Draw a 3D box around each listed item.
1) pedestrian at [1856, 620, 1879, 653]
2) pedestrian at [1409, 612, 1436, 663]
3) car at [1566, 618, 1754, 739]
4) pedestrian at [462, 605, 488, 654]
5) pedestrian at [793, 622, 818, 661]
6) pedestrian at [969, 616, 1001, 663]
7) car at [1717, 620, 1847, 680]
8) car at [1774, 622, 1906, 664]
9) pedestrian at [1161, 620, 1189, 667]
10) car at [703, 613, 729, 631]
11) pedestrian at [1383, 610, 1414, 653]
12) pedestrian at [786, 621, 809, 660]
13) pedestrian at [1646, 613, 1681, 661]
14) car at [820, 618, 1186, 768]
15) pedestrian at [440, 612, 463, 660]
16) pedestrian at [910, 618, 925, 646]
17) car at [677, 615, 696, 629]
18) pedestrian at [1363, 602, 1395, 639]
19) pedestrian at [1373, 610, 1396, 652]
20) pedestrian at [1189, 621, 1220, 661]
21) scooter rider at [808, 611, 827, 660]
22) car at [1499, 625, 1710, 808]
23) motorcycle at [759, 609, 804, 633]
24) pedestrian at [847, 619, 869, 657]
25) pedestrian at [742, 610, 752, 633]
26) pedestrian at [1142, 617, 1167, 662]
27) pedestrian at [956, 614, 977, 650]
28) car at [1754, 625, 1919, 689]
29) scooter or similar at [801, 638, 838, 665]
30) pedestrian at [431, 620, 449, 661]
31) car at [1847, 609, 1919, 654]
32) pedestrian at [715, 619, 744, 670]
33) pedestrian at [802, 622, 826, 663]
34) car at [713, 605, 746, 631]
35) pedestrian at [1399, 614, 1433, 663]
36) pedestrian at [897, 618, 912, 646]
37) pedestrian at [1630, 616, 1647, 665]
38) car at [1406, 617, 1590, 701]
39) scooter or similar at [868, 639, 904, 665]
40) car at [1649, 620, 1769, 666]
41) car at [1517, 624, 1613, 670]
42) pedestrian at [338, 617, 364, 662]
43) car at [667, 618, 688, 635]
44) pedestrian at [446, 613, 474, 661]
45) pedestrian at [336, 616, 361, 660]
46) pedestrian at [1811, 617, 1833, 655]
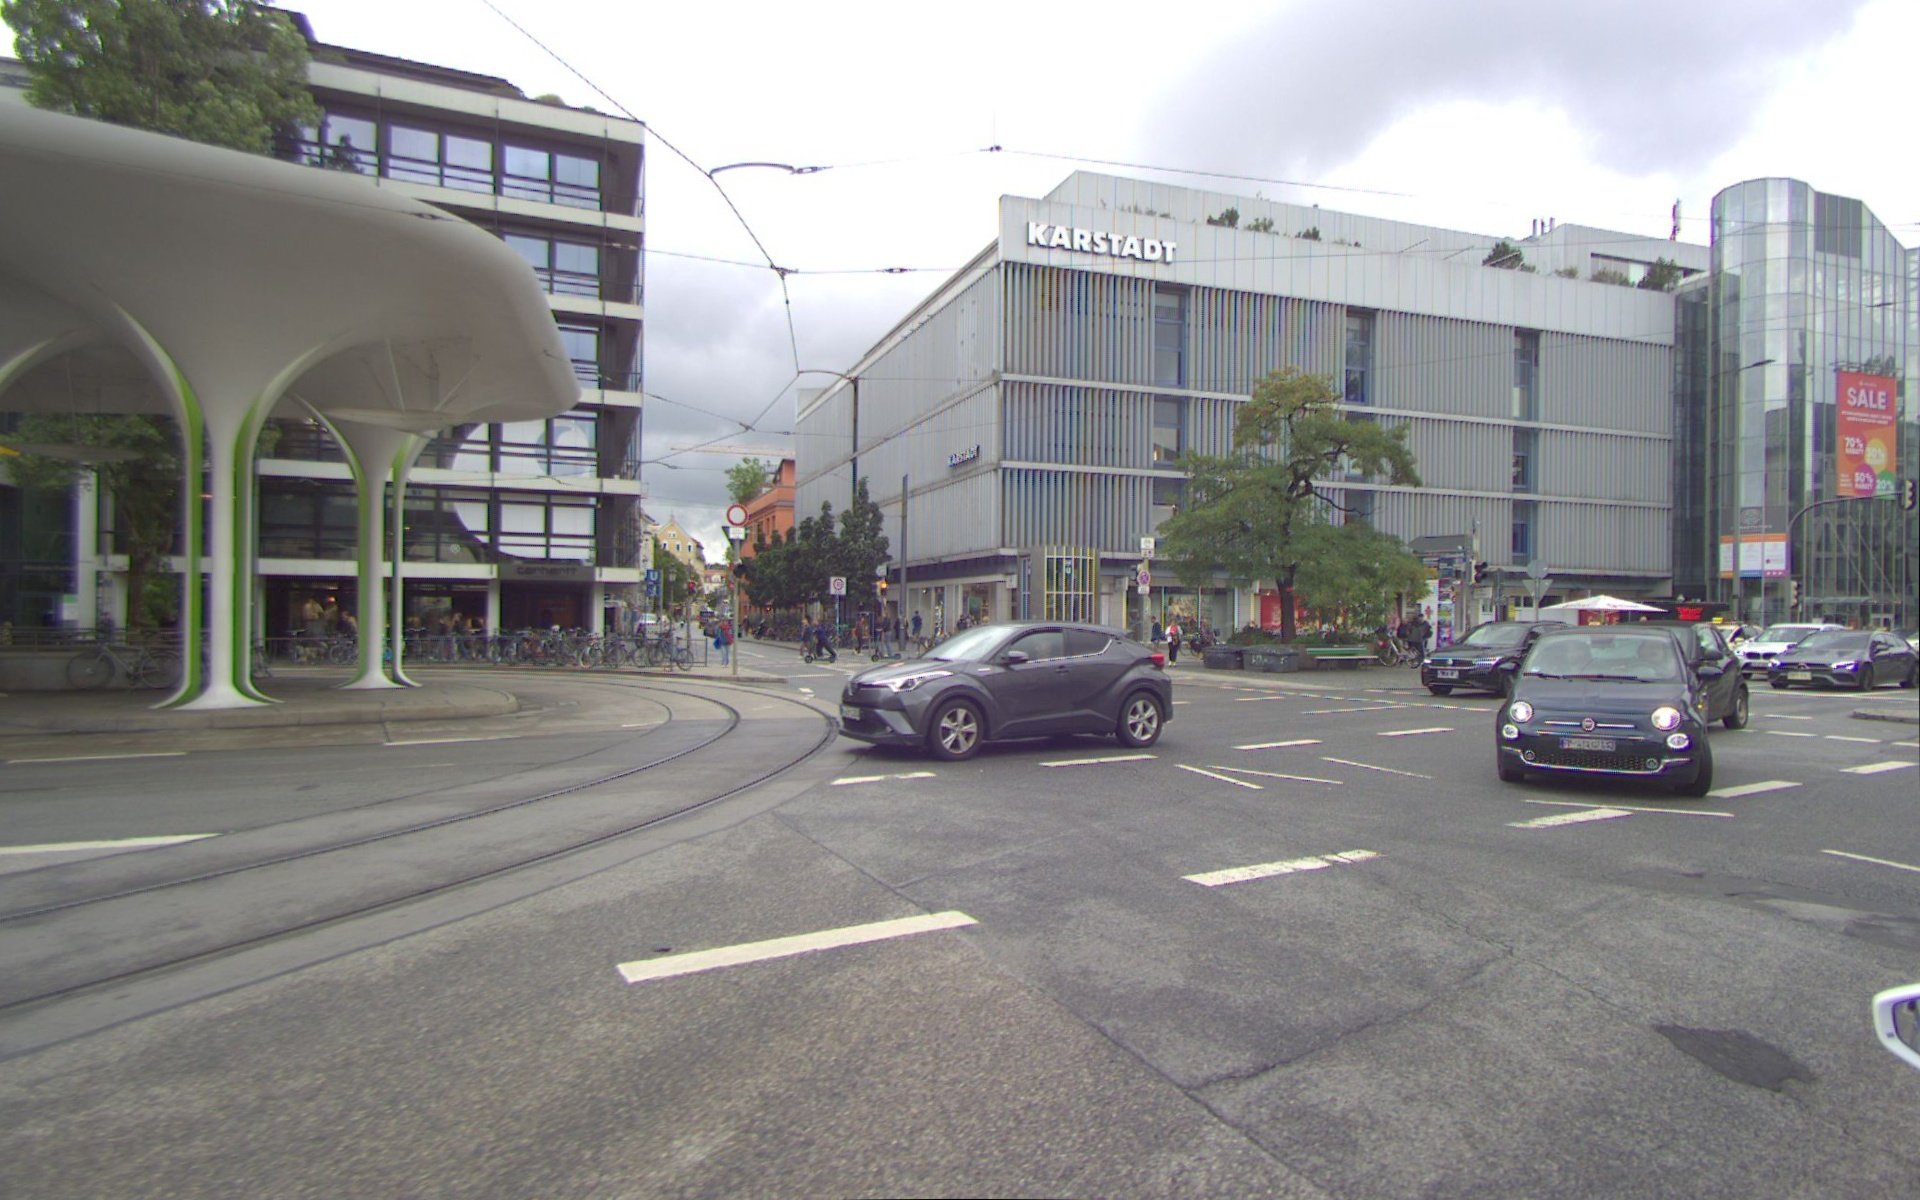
[{"bbox_3d":[47.784,1.926,52.892,0.700,1.714,0.651,1,-1,-17],"label":"pedestrian"},{"bbox_3d":[16.545,1.330,35.933,0.739,1.797,0.770,0,-1,37],"label":"pedestrian"},{"bbox_3d":[10.075,1.070,14.421,2.813,1.554,1.491,2,-3,-39],"label":"car"},{"bbox_3d":[-20.462,1.246,42.405,0.904,2.040,0.832,1,-1,-21],"label":"pedestrian"},{"bbox_3d":[-6.596,1.760,42.889,0.934,1.609,0.739,1,-1,-19],"label":"pedestrian"},{"bbox_3d":[0.894,1.391,35.701,0.804,1.640,0.830,1,-1,-45],"label":"pedestrian"},{"bbox_3d":[23.605,1.393,28.820,3.955,1.617,1.689,1,-1,-32],"label":"car"},{"bbox_3d":[34.273,1.646,39.132,4.565,1.528,1.990,1,-1,-21],"label":"car"},{"bbox_3d":[7.404,1.480,34.630,0.709,1.595,0.638,1,-1,-17],"label":"pedestrian"},{"bbox_3d":[-23.436,2.062,96.536,1.970,1.684,3.981,1,-1,-20],"label":"car"},{"bbox_3d":[16.092,1.142,36.891,0.738,1.575,0.771,0,-1,-10],"label":"pedestrian"},{"bbox_3d":[-7.065,1.734,43.689,0.839,1.676,0.799,0,-1,-19],"label":"pedestrian"},{"bbox_3d":[25.164,1.319,35.910,0.741,1.713,0.768,1,-1,-25],"label":"pedestrian"},{"bbox_3d":[0.600,1.004,12.077,4.234,1.528,1.655,1,-2,-32],"label":"car"},{"bbox_3d":[-19.560,1.367,38.641,0.679,1.824,0.592,1,-1,-20],"label":"pedestrian"},{"bbox_3d":[-2.424,1.850,57.556,0.646,1.573,0.678,1,-1,-21],"label":"pedestrian"},{"bbox_3d":[-34.900,2.781,128.167,1.932,1.774,3.981,1,-1,-21],"label":"car"},{"bbox_3d":[14.916,0.732,35.721,1.032,1.292,0.542,1,-1,-30],"label":"pedestrian"},{"bbox_3d":[15.377,1.121,36.381,0.737,1.513,0.772,0,-1,25],"label":"pedestrian"},{"bbox_3d":[9.961,1.653,40.992,0.962,1.602,0.796,1,-1,-19],"label":"pedestrian"},{"bbox_3d":[-5.494,1.369,38.647,0.601,1.863,0.552,1,-1,-24],"label":"scooter rider"},{"bbox_3d":[6.526,0.991,10.014,1.526,1.465,3.526,0,-1,37],"label":"car"},{"bbox_3d":[-16.110,1.902,90.673,3.860,2.189,1.173,1,-1,-7],"label":"motorcycle"},{"bbox_3d":[-4.599,1.700,45.170,0.839,1.676,0.799,1,-1,-19],"label":"pedestrian"},{"bbox_3d":[-18.962,1.891,89.380,0.728,2.040,0.870,1,-1,-23],"label":"pedestrian"},{"bbox_3d":[7.699,1.550,39.700,0.774,1.710,0.862,0,-1,25],"label":"pedestrian"},{"bbox_3d":[0.305,1.523,48.481,0.774,1.710,0.784,1,-1,-25],"label":"pedestrian"},{"bbox_3d":[21.474,1.332,24.580,4.122,1.430,1.983,1,-2,-33],"label":"car"},{"bbox_3d":[-5.406,1.982,38.655,1.385,0.995,0.412,1,-1,-25],"label":"scooter or similar"},{"bbox_3d":[-20.179,1.562,39.011,0.589,1.555,0.503,1,-1,-26],"label":"pedestrian"},{"bbox_3d":[38.742,1.280,40.954,4.116,1.701,1.992,1,1,-18],"label":"car"},{"bbox_3d":[-7.790,1.492,33.924,0.779,1.664,0.853,1,-1,-25],"label":"pedestrian"},{"bbox_3d":[-6.142,1.777,42.200,0.844,1.664,0.786,0,-1,-19],"label":"pedestrian"},{"bbox_3d":[-18.827,1.481,81.872,2.142,2.087,3.981,1,-1,-21],"label":"car"},{"bbox_3d":[15.933,1.325,35.101,0.740,1.676,0.769,0,-1,-19],"label":"pedestrian"},{"bbox_3d":[-3.154,1.834,57.200,0.646,1.573,0.678,1,-1,-21],"label":"pedestrian"},{"bbox_3d":[24.773,1.479,36.693,0.348,1.783,0.447,0,-1,6],"label":"pedestrian"},{"bbox_3d":[11.821,1.233,22.029,3.953,1.684,1.774,1,-2,-30],"label":"car"},{"bbox_3d":[-2.897,2.017,39.264,1.379,0.995,0.414,1,-1,-10],"label":"scooter or similar"},{"bbox_3d":[26.870,1.506,36.003,4.340,1.563,1.892,1,-1,-30],"label":"car"},{"bbox_3d":[21.983,1.653,36.425,4.385,1.556,1.974,1,-2,-44],"label":"car"},{"bbox_3d":[-22.226,1.430,36.661,0.663,1.613,0.592,1,-1,-20],"label":"pedestrian"},{"bbox_3d":[-32.570,3.021,115.730,1.932,1.884,3.981,1,-1,-21],"label":"car"},{"bbox_3d":[-18.954,1.394,38.077,0.815,1.824,0.718,1,-1,-20],"label":"pedestrian"},{"bbox_3d":[-22.778,1.402,37.408,0.663,1.613,0.592,1,-1,-20],"label":"pedestrian"},{"bbox_3d":[42.411,1.752,49.424,0.618,1.842,0.557,1,-1,-19],"label":"pedestrian"}]
